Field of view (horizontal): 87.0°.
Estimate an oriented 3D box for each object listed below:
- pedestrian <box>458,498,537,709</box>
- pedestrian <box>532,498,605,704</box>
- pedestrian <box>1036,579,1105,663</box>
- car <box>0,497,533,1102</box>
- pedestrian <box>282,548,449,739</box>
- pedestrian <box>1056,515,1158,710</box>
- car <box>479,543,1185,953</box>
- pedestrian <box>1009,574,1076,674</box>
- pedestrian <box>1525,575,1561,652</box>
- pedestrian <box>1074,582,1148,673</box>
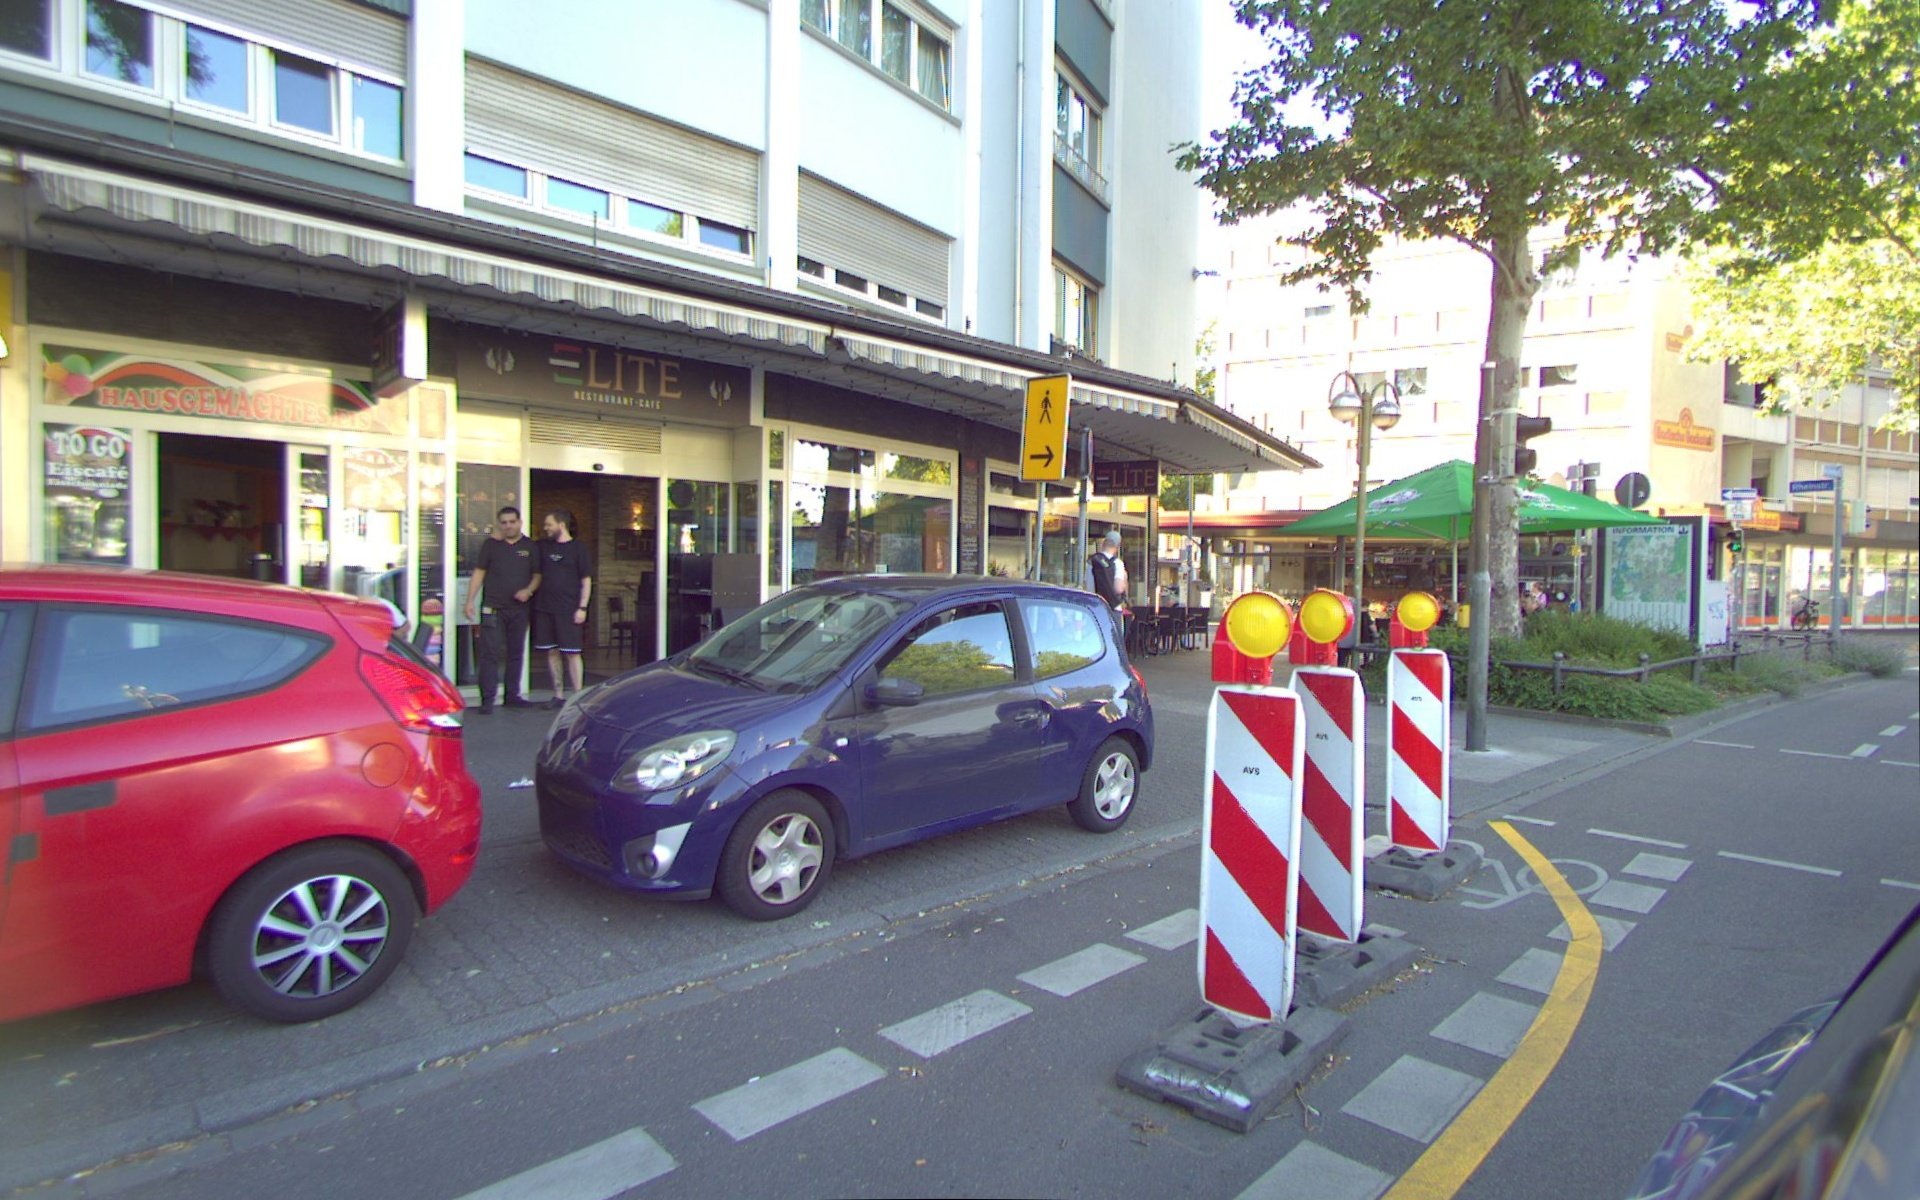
[{"bbox_3d":[-4.089,0.015,8.950,0.547,1.800,0.395,-1,4,-43],"label":"pedestrian"},{"bbox_3d":[-3.511,0.006,9.092,0.545,1.803,0.397,1,3,-11],"label":"pedestrian"},{"bbox_3d":[1.654,0.300,15.116,0.776,1.207,0.648,0,1,-34],"label":"pedestrian"},{"bbox_3d":[-3.517,0.484,2.990,3.761,1.614,1.784,-1,5,-45],"label":"car"},{"bbox_3d":[-4.646,0.290,7.899,0.937,1.352,1.069,0,2,-42],"label":"pedestrian"},{"bbox_3d":[1.575,0.115,10.829,0.874,1.983,0.648,0,1,-41],"label":"pedestrian"},{"bbox_3d":[-0.531,0.513,5.691,3.551,1.485,1.769,-1,5,-44],"label":"car"},{"bbox_3d":[1.126,0.316,13.886,0.685,1.323,0.793,1,1,-13],"label":"pedestrian"},{"bbox_3d":[12.711,0.283,22.068,0.624,1.657,0.525,2,1,34],"label":"pedestrian"},{"bbox_3d":[2.108,0.366,14.178,0.685,1.207,0.881,0,1,-18],"label":"pedestrian"}]
